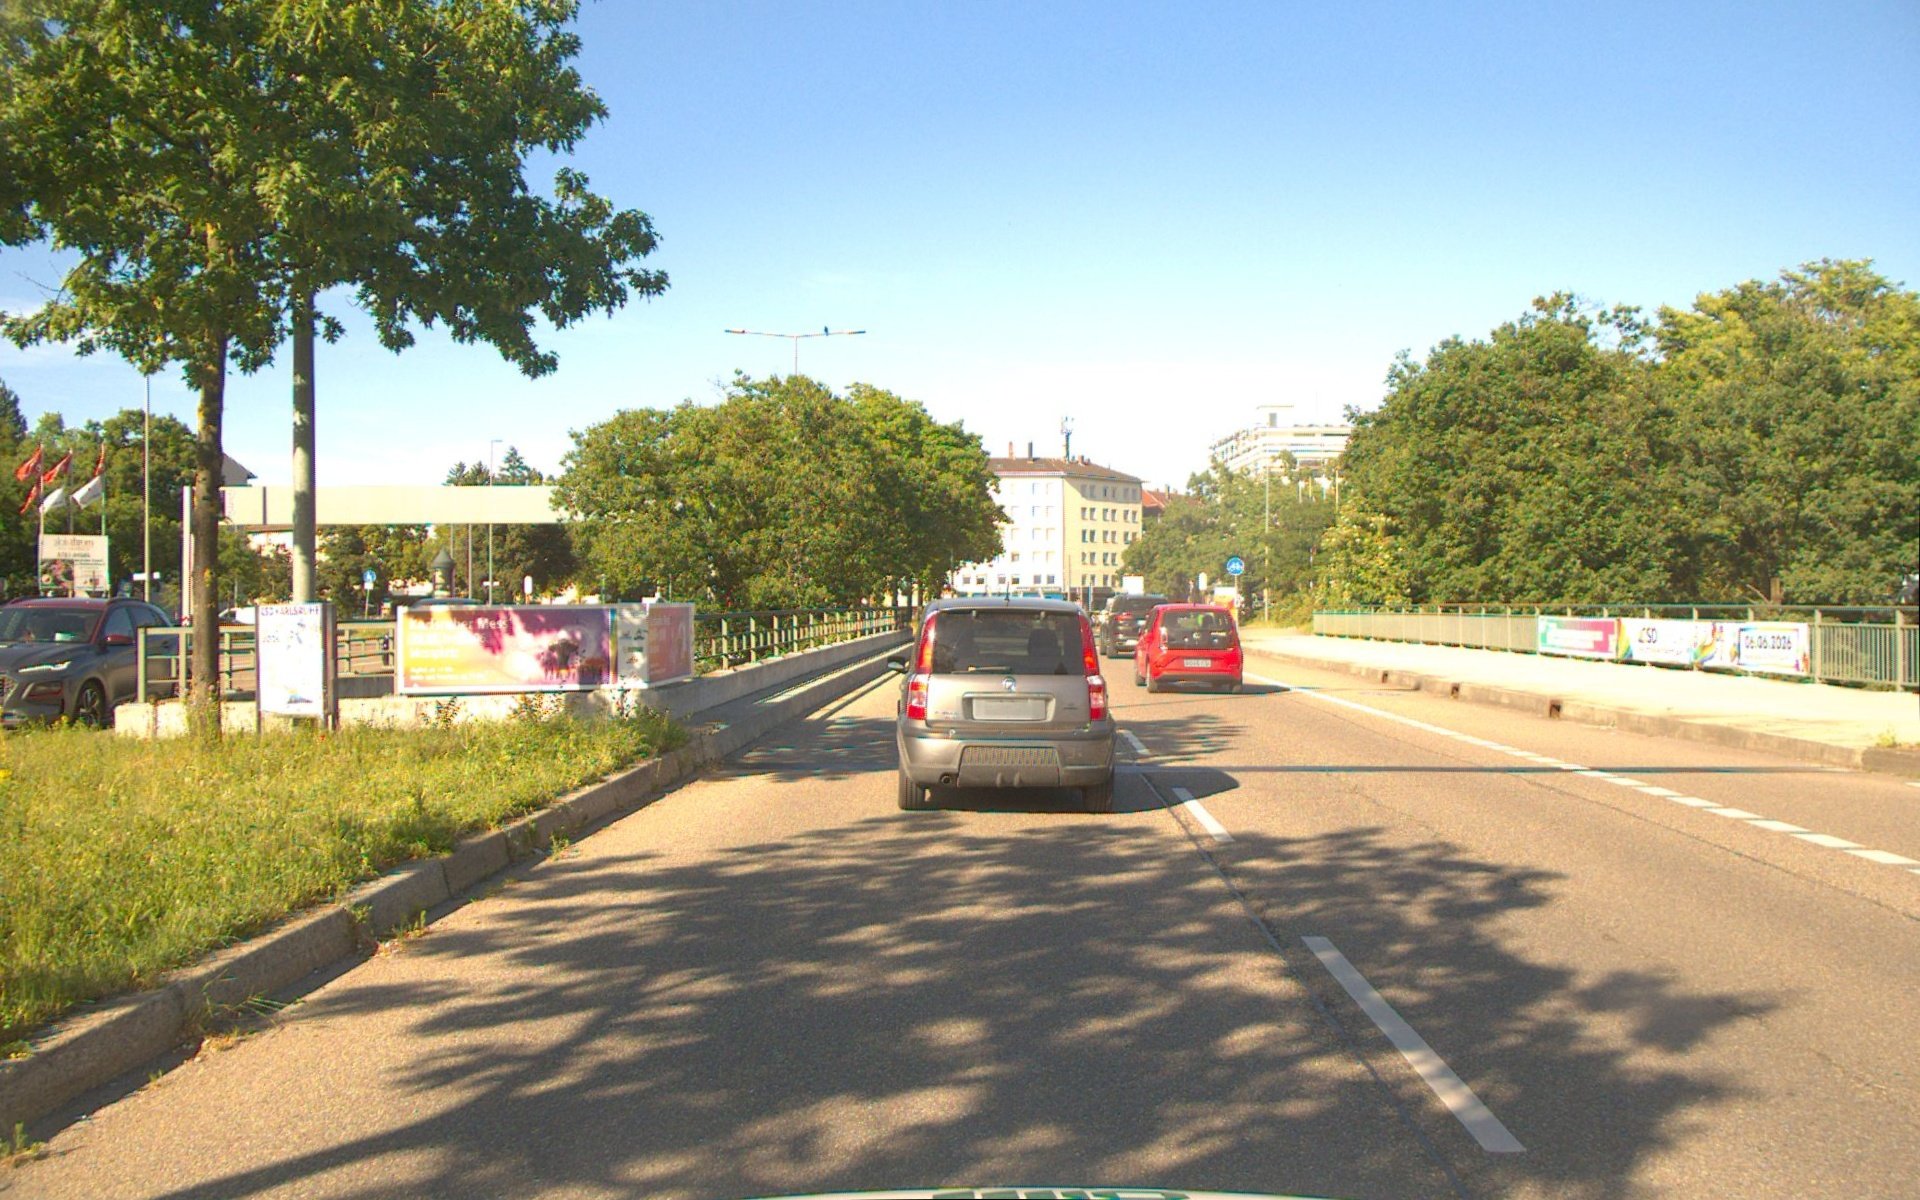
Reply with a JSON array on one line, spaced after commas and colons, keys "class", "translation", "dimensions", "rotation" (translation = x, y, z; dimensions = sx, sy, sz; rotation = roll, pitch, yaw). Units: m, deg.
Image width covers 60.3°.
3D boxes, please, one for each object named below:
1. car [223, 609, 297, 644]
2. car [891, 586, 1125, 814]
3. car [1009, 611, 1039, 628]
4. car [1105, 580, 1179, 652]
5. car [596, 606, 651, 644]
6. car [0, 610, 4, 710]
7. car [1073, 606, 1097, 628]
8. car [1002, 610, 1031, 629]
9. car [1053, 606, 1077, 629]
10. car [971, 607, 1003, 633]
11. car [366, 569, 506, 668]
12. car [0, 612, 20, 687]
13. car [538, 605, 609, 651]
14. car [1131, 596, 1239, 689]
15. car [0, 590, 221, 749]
[{"class": "car", "translation": [-43.692, 1.633, 103.361], "dimensions": [4.177, 2.049, 1.986], "rotation": [-1, 0, -22]}, {"class": "car", "translation": [0.354, 0.664, 13.135], "dimensions": [1.584, 1.542, 3.820], "rotation": [0, 0, 1]}, {"class": "car", "translation": [6.030, 1.863, 155.542], "dimensions": [1.904, 1.555, 4.100], "rotation": [0, 0, 16]}, {"class": "car", "translation": [5.010, 0.461, 45.878], "dimensions": [1.904, 1.872, 4.155], "rotation": [1, -1, 5]}, {"class": "car", "translation": [-14.254, 1.020, 70.176], "dimensions": [1.709, 1.526, 3.997], "rotation": [-1, 0, -3]}, {"class": "car", "translation": [-16.591, 0.993, 25.345], "dimensions": [1.898, 1.650, 3.737], "rotation": [0, 0, -4]}, {"class": "car", "translation": [11.468, 1.549, 151.581], "dimensions": [1.904, 1.872, 4.155], "rotation": [-4, -1, 6]}, {"class": "car", "translation": [4.992, 1.697, 145.541], "dimensions": [1.903, 1.555, 4.101], "rotation": [0, 0, 11]}, {"class": "car", "translation": [9.205, 1.518, 144.940], "dimensions": [1.904, 1.872, 4.155], "rotation": [-4, -1, 6]}, {"class": "car", "translation": [1.697, 1.214, 102.245], "dimensions": [1.905, 1.555, 4.098], "rotation": [0, 0, 2]}, {"class": "car", "translation": [-11.679, 0.396, 37.154], "dimensions": [1.954, 2.049, 4.331], "rotation": [-1, 0, -3]}, {"class": "car", "translation": [-21.959, 1.095, 34.911], "dimensions": [1.898, 1.650, 4.502], "rotation": [0, 0, -4]}, {"class": "car", "translation": [-13.505, 0.968, 57.994], "dimensions": [1.709, 1.526, 3.997], "rotation": [-1, 0, -3]}, {"class": "car", "translation": [3.883, 0.688, 28.969], "dimensions": [1.583, 1.488, 3.752], "rotation": [0, 0, 3]}, {"class": "car", "translation": [-10.516, 0.716, 19.425], "dimensions": [1.898, 1.650, 4.502], "rotation": [0, 0, -4]}]
